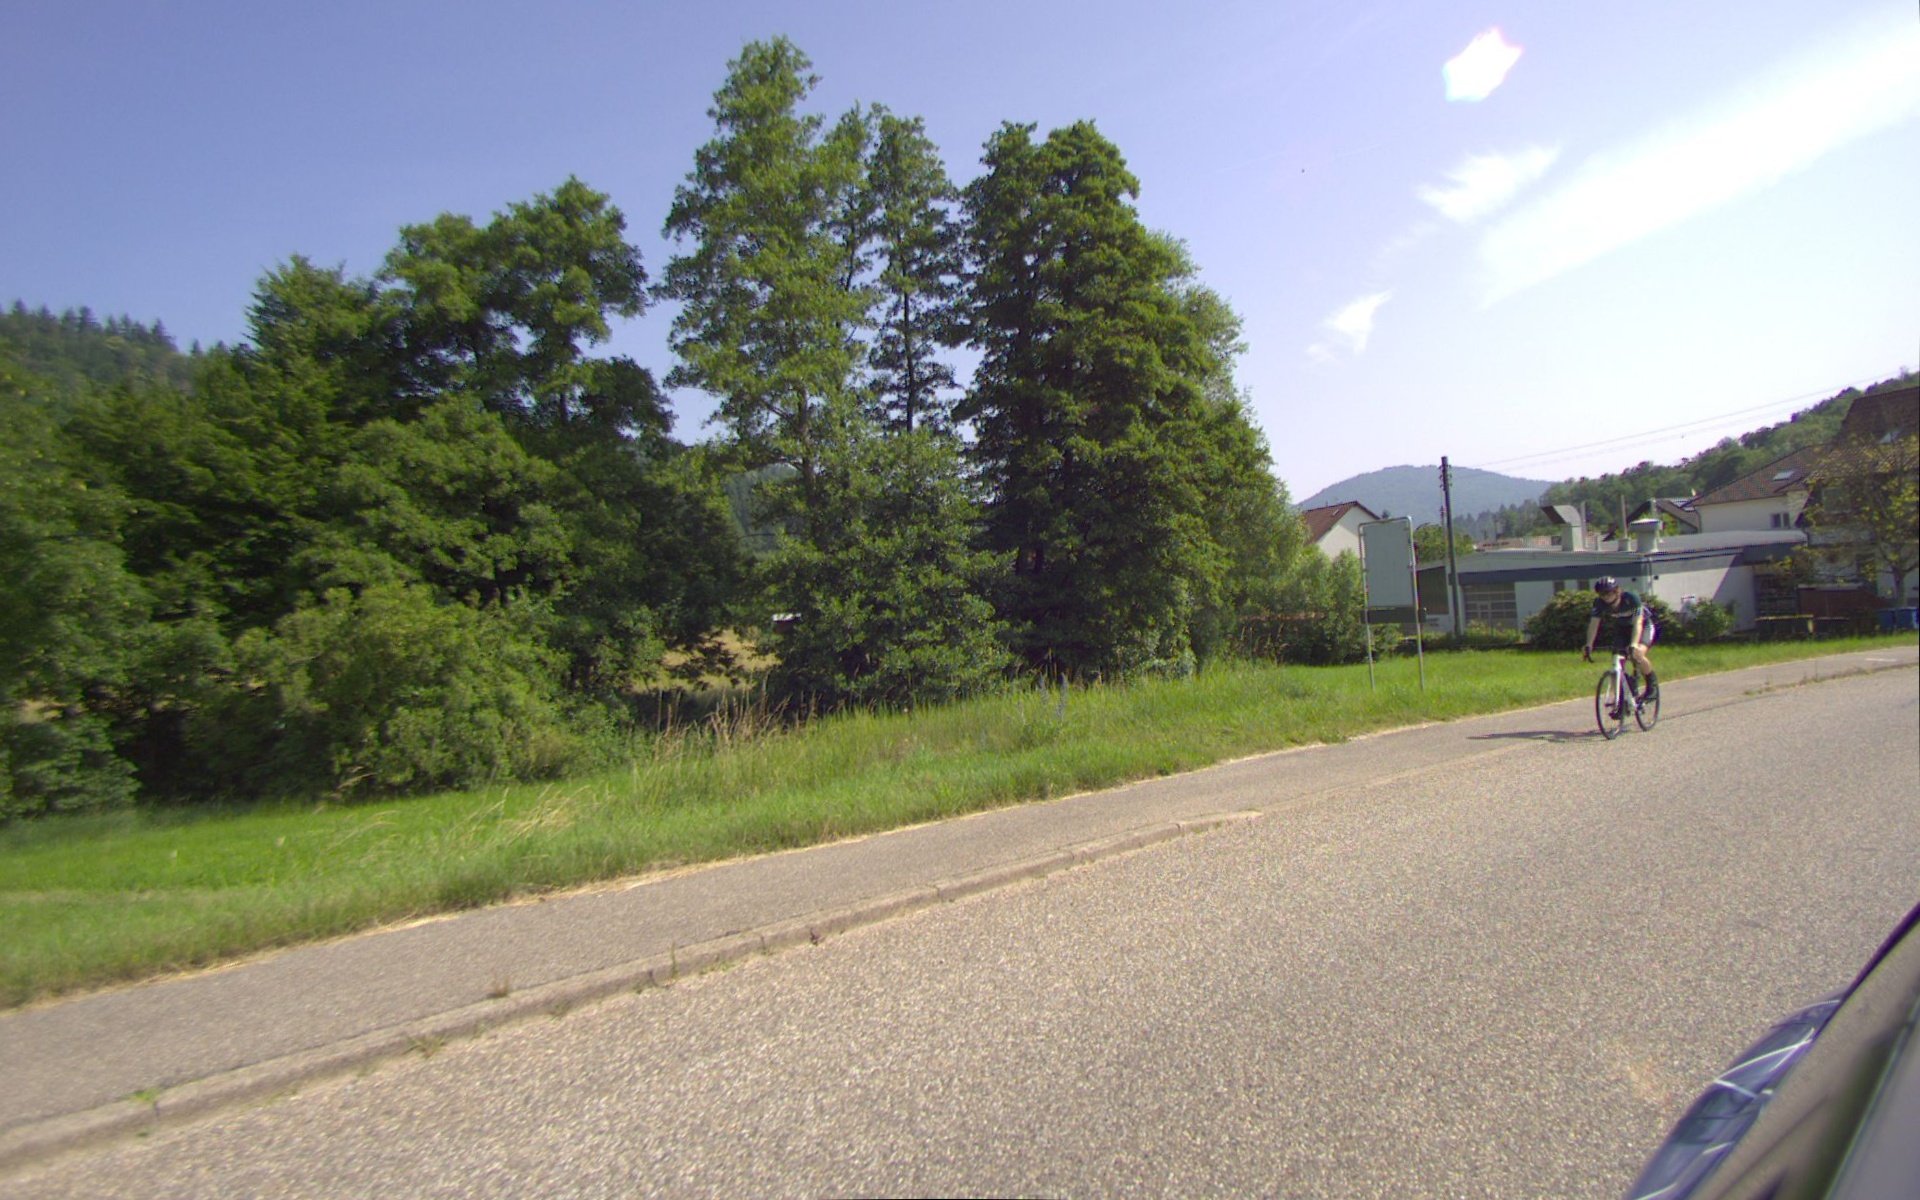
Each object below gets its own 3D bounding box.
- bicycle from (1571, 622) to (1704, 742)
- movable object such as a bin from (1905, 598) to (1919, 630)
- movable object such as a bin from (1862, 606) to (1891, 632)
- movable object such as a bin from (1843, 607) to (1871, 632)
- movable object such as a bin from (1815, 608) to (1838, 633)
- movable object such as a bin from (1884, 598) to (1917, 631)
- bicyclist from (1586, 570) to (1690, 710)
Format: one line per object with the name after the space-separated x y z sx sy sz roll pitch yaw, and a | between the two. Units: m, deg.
7.035 0.796 10.471 1.955 1.048 0.581 -2 2 -39 | bicycle
35.125 0.507 36.964 0.777 1.133 0.570 -3 -3 -29 | movable object such as a bin
34.487 0.708 38.089 0.575 0.911 0.570 -3 -3 -29 | movable object such as a bin
34.199 0.748 38.604 0.575 0.911 0.570 -3 -3 -29 | movable object such as a bin
33.766 0.811 39.433 0.575 0.911 0.420 -3 -3 -29 | movable object such as a bin
34.834 0.548 37.480 0.783 1.133 0.570 -3 -3 -29 | movable object such as a bin
7.000 0.378 10.440 1.124 1.359 0.581 -1 1 -39 | bicyclist
